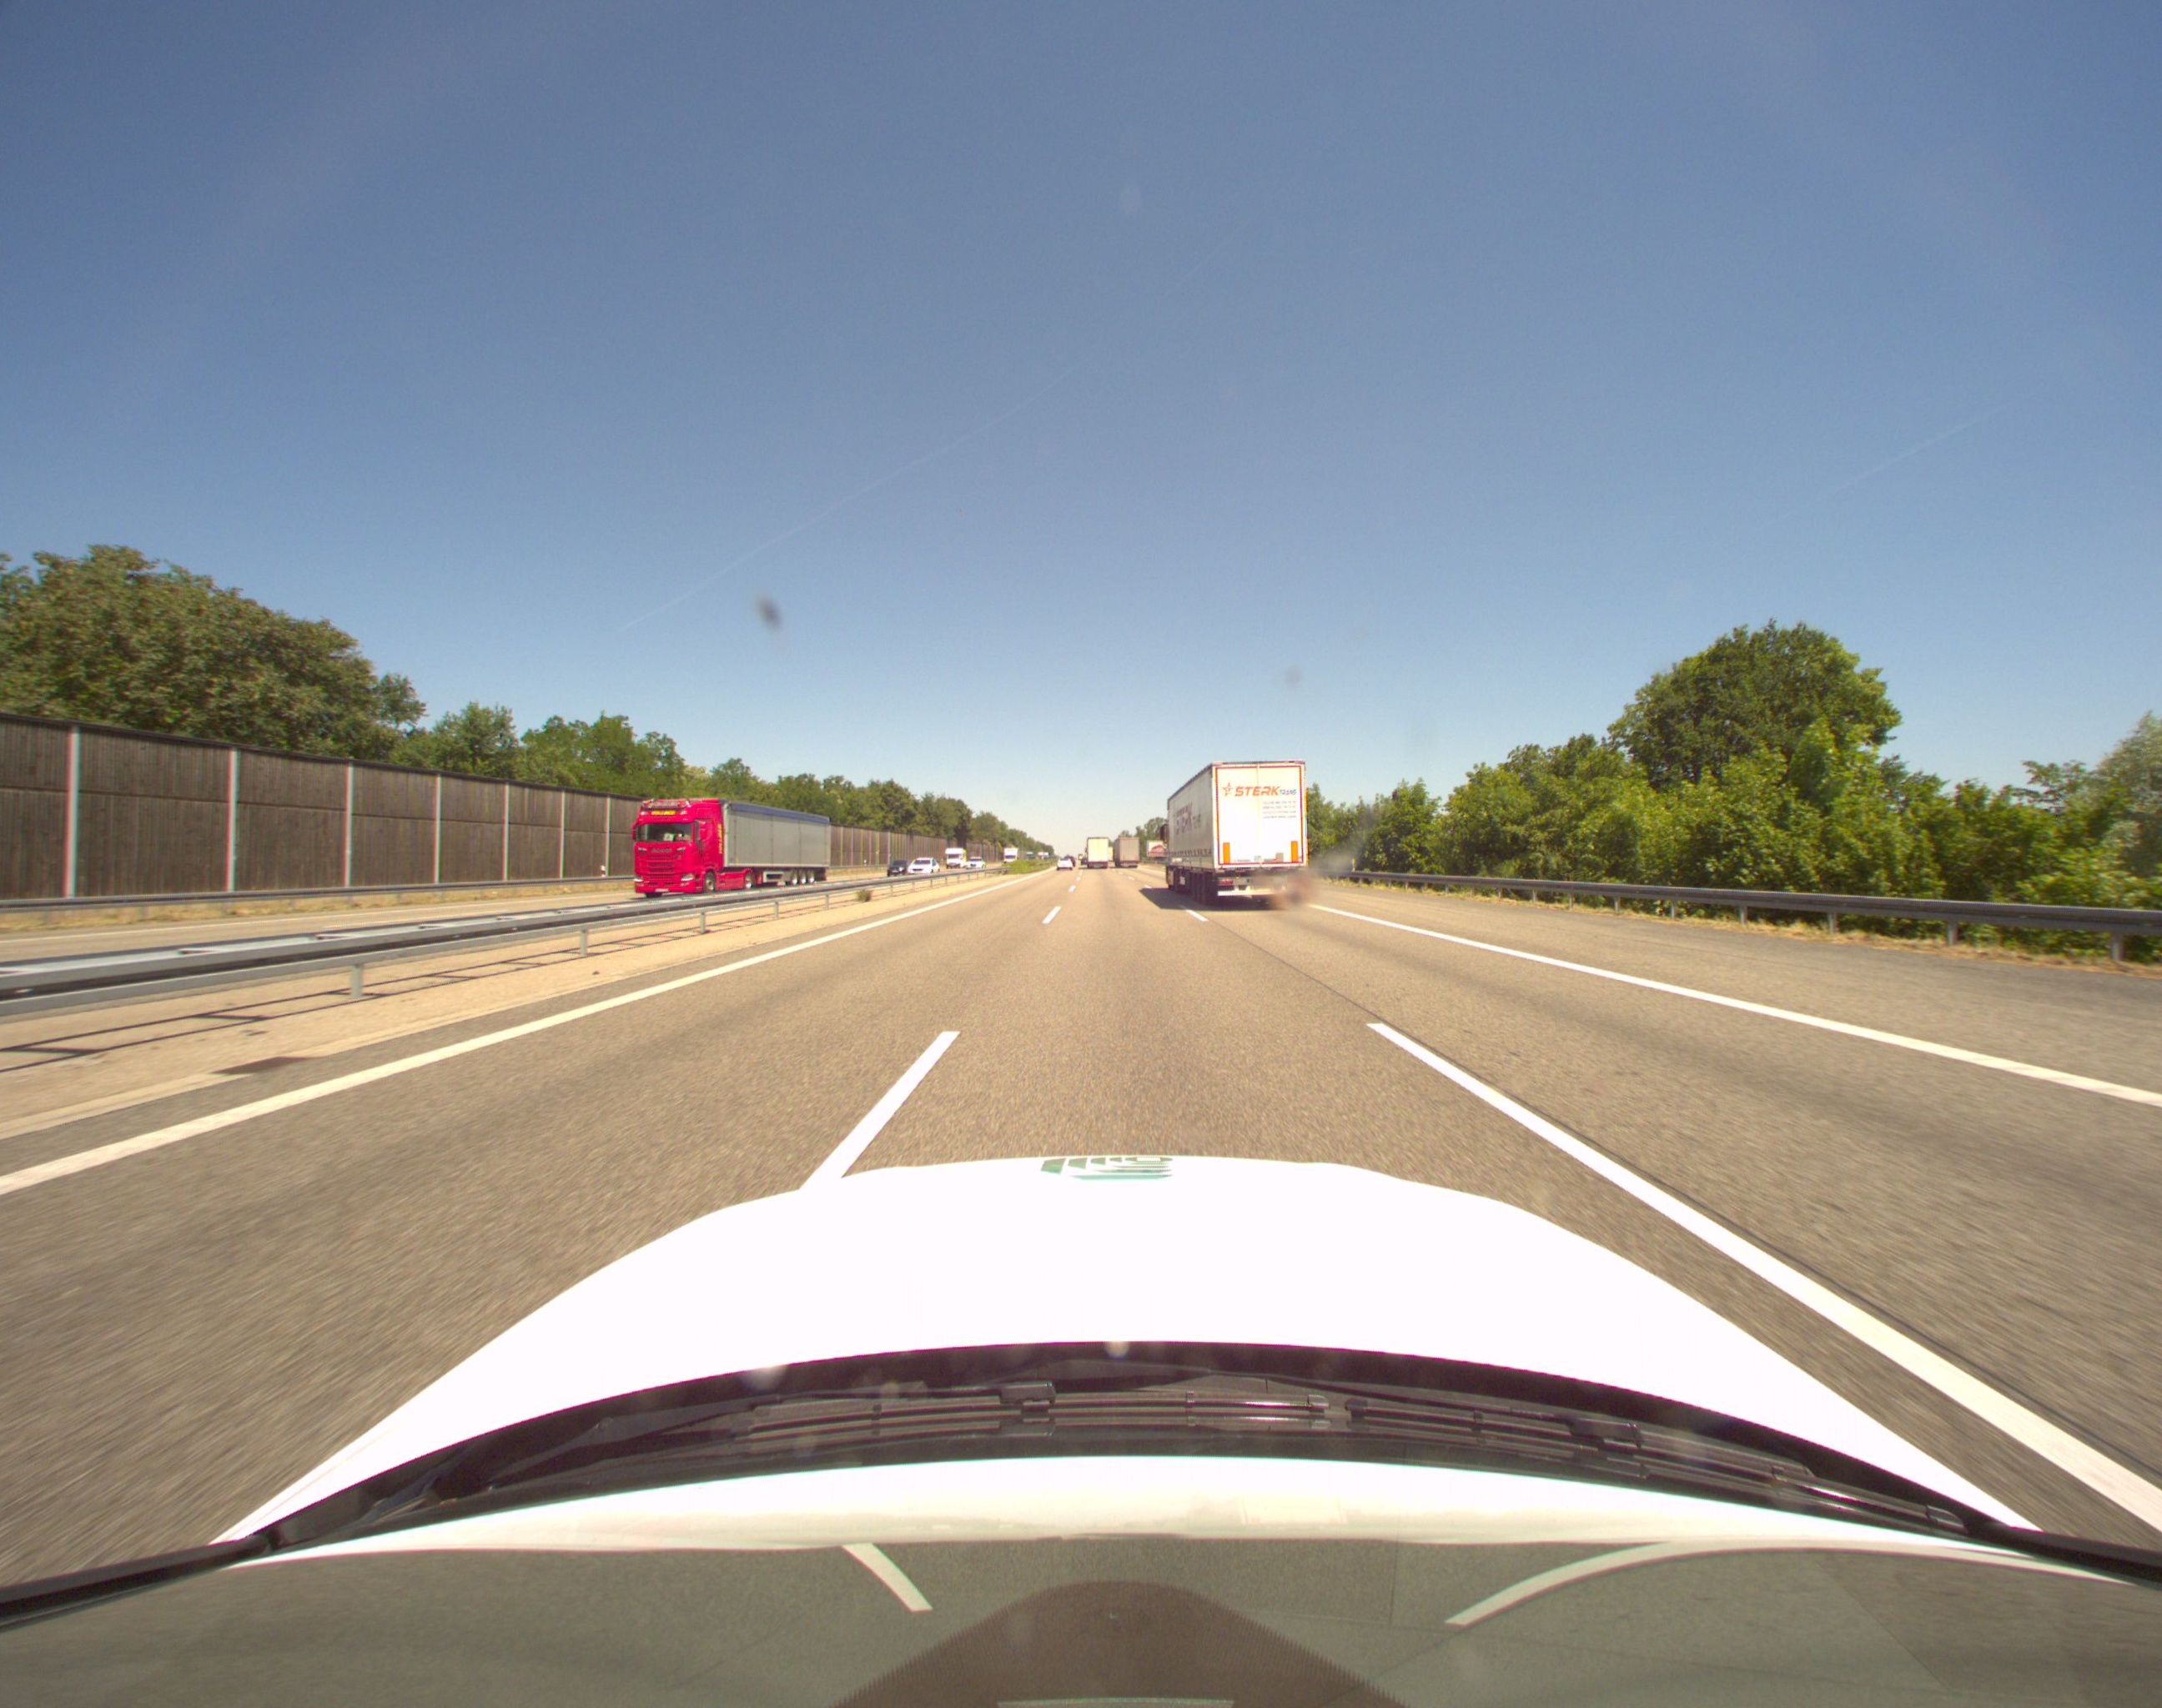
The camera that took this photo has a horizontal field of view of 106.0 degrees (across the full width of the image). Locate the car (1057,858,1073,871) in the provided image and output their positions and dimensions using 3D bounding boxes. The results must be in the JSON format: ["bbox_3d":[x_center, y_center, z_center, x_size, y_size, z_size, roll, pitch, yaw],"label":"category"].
[{"bbox_3d":[-1.917,1.208,97.010,1.850,1.486,3.998,0,-1,-1],"label":"car"}]

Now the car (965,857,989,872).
[{"bbox_3d":[-11.361,1.131,89.038,1.912,1.546,4.583,0,0,2],"label":"car"}]

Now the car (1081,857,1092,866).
[{"bbox_3d":[0.988,1.380,147.122,1.850,1.617,3.998,0,-1,-1],"label":"car"}]

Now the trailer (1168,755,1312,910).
[{"bbox_3d":[4.953,-0.522,28.591,2.697,4.088,14.155,0,-1,2],"label":"trailer"}]

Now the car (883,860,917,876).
[{"bbox_3d":[-16.009,1.222,72.074,1.912,1.375,4.582,0,0,1],"label":"car"}]

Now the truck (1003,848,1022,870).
[{"bbox_3d":[-11.020,0.814,131.039,2.402,3.352,6.918,0,0,0],"label":"truck"}]

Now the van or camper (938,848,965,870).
[{"bbox_3d":[-18.403,0.730,116.169,2.550,2.914,7.373,2,0,0],"label":"van or camper"}]

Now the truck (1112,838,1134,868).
[{"bbox_3d":[6.099,-0.131,119.113,2.683,4.216,7.834,1,-1,-1],"label":"truck"}]

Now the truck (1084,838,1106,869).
[{"bbox_3d":[1.908,0.002,113.295,2.720,4.086,7.273,1,-1,-1],"label":"truck"}]

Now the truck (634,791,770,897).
[{"bbox_3d":[-16.002,-0.348,35.012,2.349,4.076,7.155,0,0,1],"label":"truck"}]

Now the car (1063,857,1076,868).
[{"bbox_3d":[-1.740,1.283,125.560,1.849,1.617,3.999,0,-1,-1],"label":"car"}]

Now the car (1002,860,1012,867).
[{"bbox_3d":[-15.415,1.977,169.543,1.807,1.600,4.000,-1,0,0],"label":"car"}]

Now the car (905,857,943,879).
[{"bbox_3d":[-11.278,0.987,58.770,1.798,1.544,4.247,0,0,1],"label":"car"}]

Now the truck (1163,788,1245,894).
[{"bbox_3d":[5.128,-0.479,35.115,2.697,4.088,6.967,0,-1,2],"label":"truck"}]

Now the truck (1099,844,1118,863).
[{"bbox_3d":[6.491,-0.111,195.330,3.366,4.304,11.436,3,0,-3],"label":"truck"}]

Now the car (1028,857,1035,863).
[{"bbox_3d":[-15.072,1.797,247.971,1.987,1.816,5.218,0,-1,0],"label":"car"}]

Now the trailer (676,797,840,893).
[{"bbox_3d":[-15.813,-0.338,41.636,2.332,4.076,14.213,0,0,2],"label":"trailer"}]

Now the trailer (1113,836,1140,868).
[{"bbox_3d":[6.198,-0.202,113.024,2.695,4.216,13.205,1,-1,-1],"label":"trailer"}]

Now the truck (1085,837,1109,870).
[{"bbox_3d":[2.005,0.014,108.103,2.699,4.086,13.466,1,-1,-1],"label":"truck"}]

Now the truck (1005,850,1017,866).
[{"bbox_3d":[-18.833,1.129,218.305,2.476,4.087,4.681,-1,-1,3],"label":"truck"}]
